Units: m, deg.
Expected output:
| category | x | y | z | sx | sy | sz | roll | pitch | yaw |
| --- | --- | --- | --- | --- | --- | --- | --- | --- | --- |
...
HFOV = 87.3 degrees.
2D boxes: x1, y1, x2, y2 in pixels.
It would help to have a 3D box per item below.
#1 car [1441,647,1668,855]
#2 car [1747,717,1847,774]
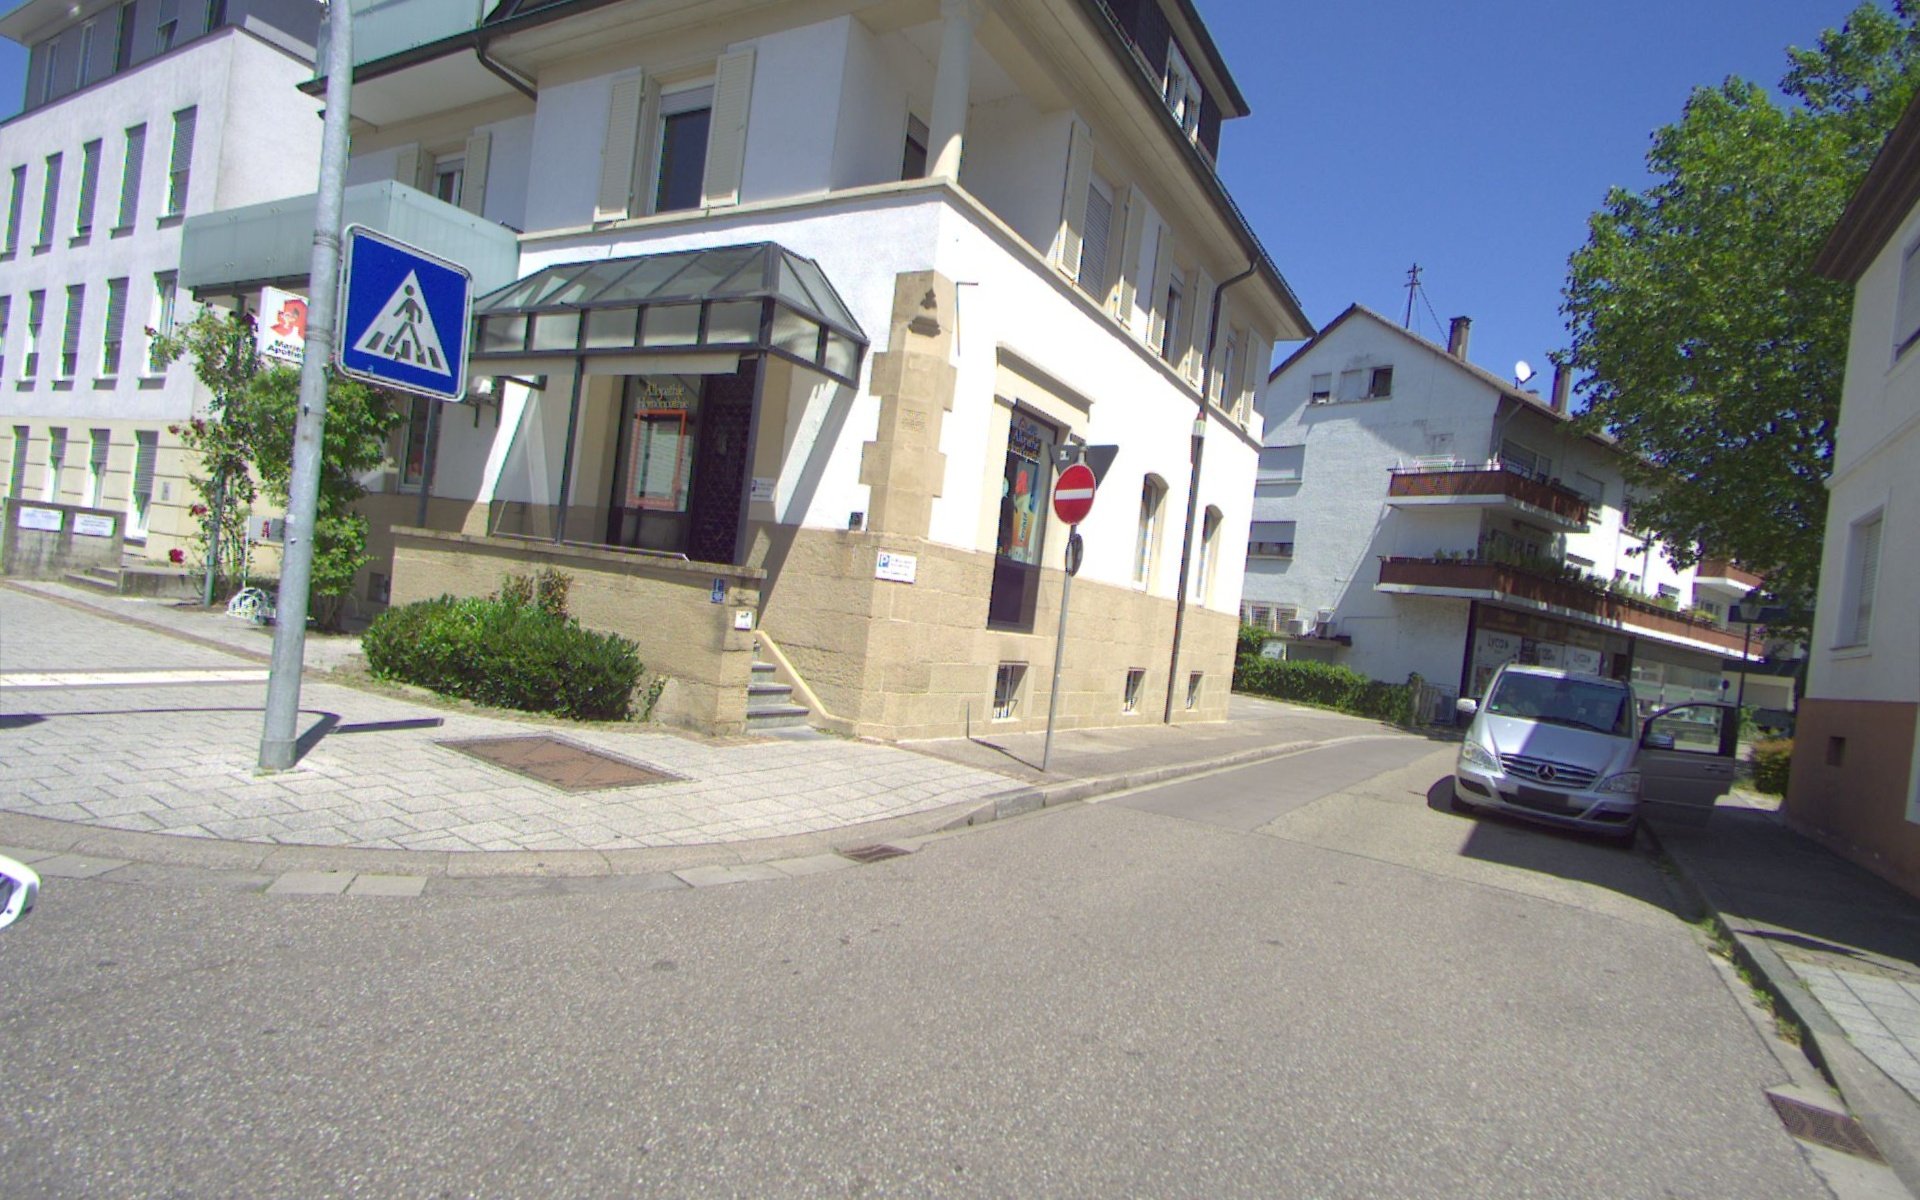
| category | x | y | z | sx | sy | sz | roll | pitch | yaw |
| --- | --- | --- | --- | --- | --- | --- | --- | --- | --- |
| car | 7.700 | 1.791 | 12.998 | 1.897 | 1.899 | 4.800 | 9 | 0 | 33 |
| car | 28.088 | 4.889 | 33.718 | 3.798 | 1.526 | 1.758 | 8 | -1 | -39 |
